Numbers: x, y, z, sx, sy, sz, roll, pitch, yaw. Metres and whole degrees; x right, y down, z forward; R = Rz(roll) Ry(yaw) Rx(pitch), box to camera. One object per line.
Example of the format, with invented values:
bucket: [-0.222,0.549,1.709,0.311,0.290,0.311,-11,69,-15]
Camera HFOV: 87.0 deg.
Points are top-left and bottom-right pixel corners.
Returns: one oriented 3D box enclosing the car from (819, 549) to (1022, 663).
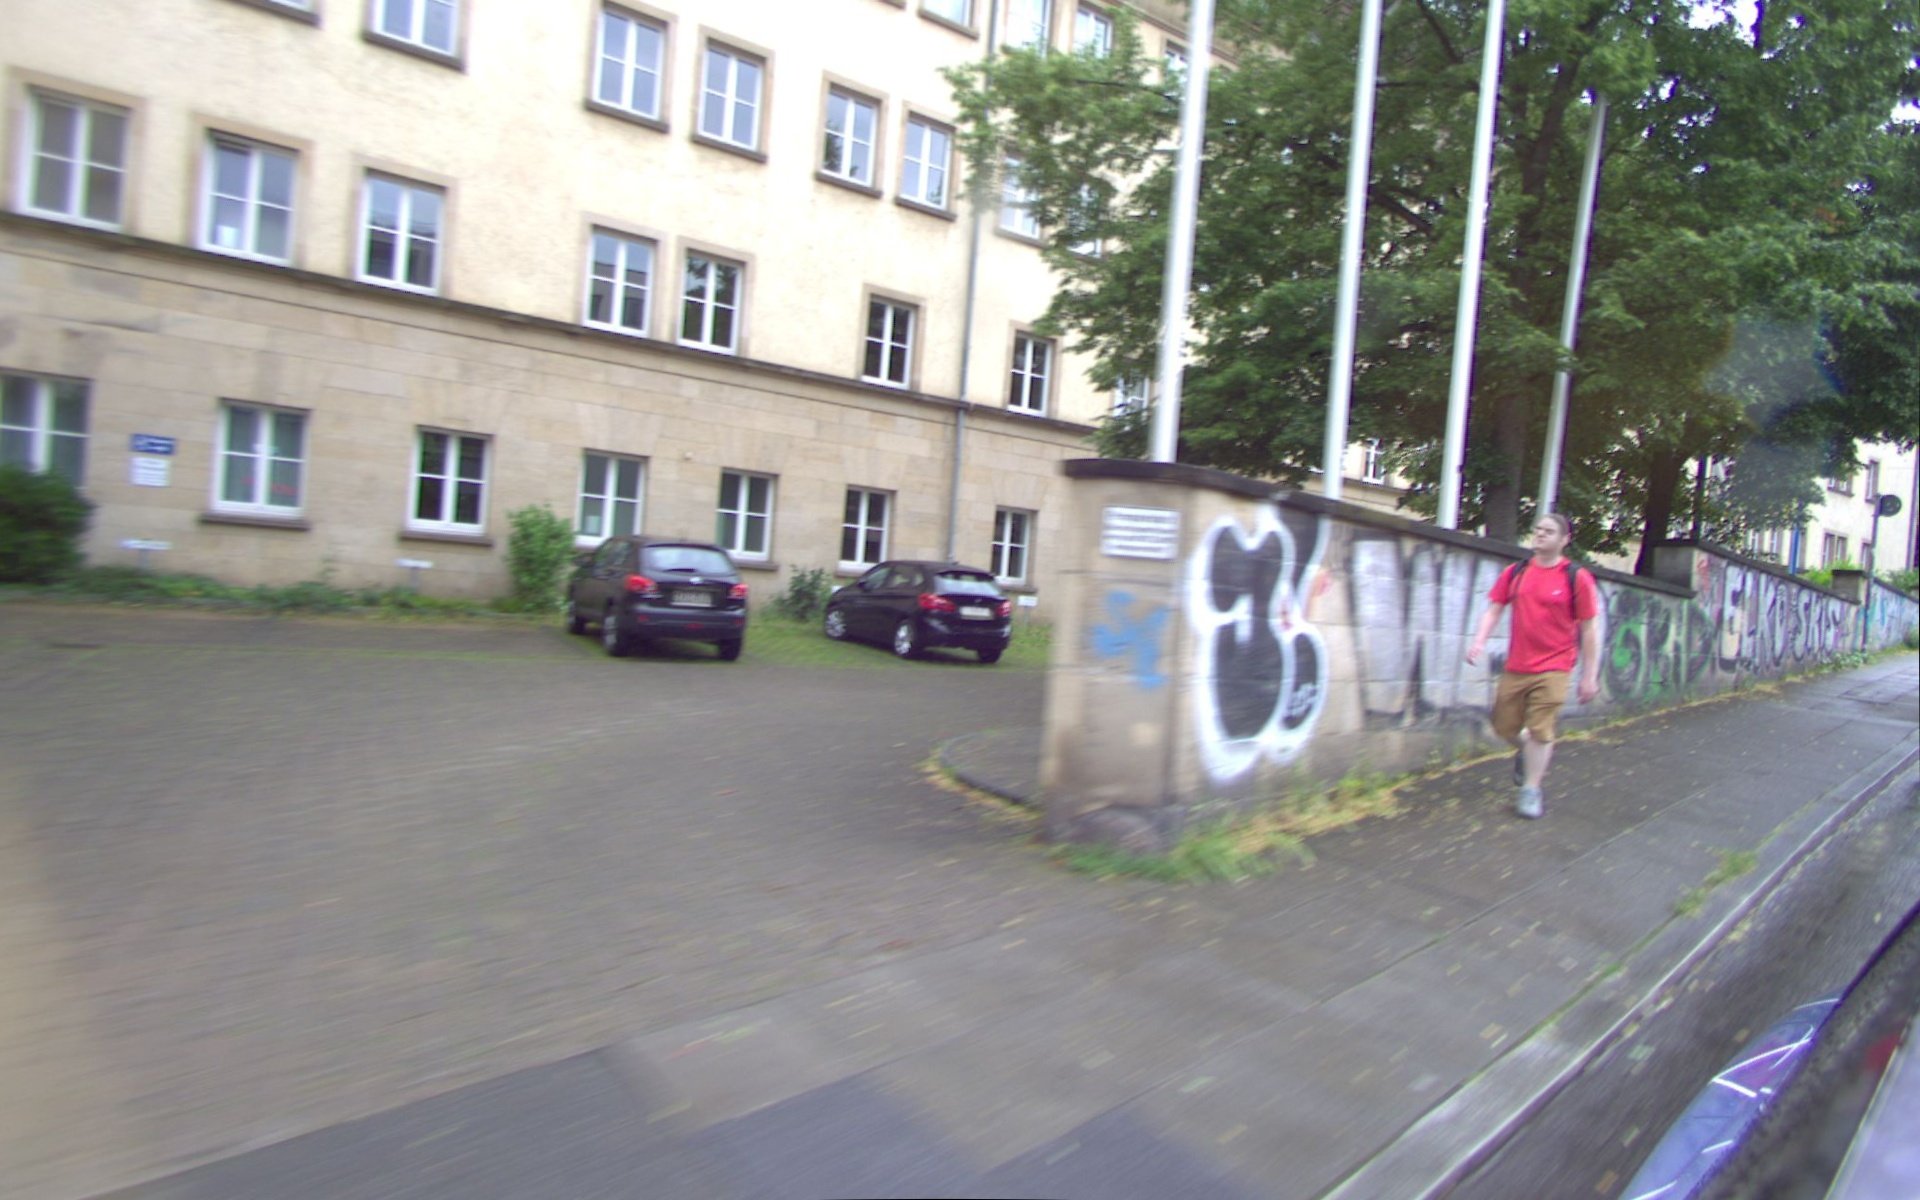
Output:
car: [-0.800,0.034,17.169,1.597,1.515,3.953,4,3,-32]

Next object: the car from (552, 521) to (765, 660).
car: [-4.516,-0.236,14.633,1.760,1.607,4.471,3,3,-32]

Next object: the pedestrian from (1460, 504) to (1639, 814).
pedestrian: [3.562,0.311,6.122,0.698,1.742,0.634,0,3,-39]
